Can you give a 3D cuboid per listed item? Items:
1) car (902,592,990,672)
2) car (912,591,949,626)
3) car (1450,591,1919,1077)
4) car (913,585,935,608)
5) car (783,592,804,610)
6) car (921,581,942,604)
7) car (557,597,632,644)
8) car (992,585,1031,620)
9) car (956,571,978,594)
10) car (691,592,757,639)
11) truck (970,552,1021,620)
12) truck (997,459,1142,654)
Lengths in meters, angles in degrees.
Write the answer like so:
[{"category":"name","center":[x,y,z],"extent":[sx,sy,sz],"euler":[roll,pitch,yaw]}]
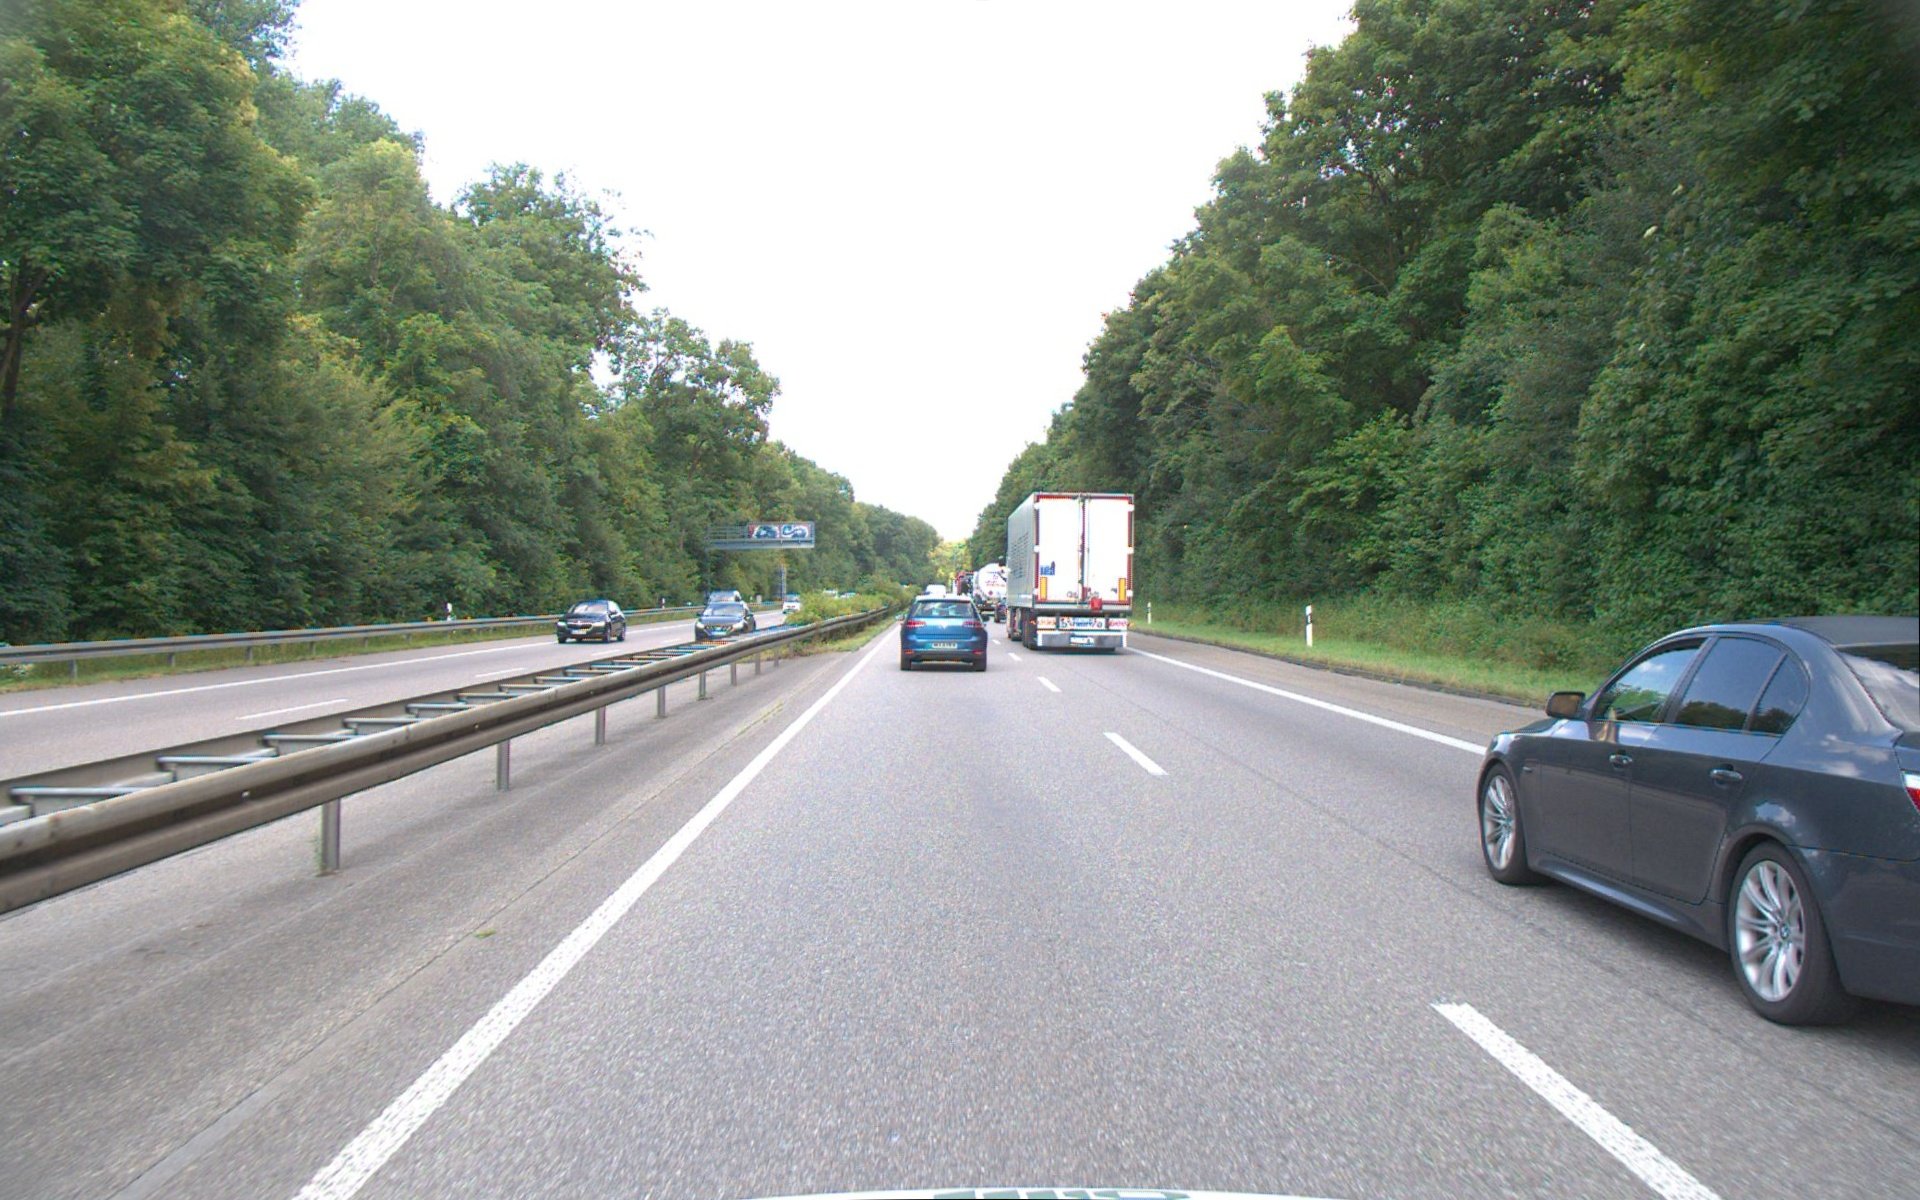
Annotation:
[{"category":"car","center":[-0.309,0.609,33.543],"extent":[1.670,1.495,3.999],"euler":[1,0,-1]},{"category":"car","center":[-1.296,0.351,73.577],"extent":[1.631,1.526,4.151],"euler":[0,0,-1]},{"category":"car","center":[3.804,0.723,7.289],"extent":[1.738,1.501,4.879],"euler":[1,0,-1]},{"category":"car","center":[-3.204,-0.316,147.604],"extent":[1.953,2.049,3.999],"euler":[-1,0,-1]},{"category":"car","center":[-14.057,0.070,139.591],"extent":[1.506,1.421,3.510],"euler":[-1,0,-1]},{"category":"car","center":[-2.988,-0.748,170.389],"extent":[1.954,2.294,4.439],"euler":[-1,0,-3]},{"category":"car","center":[-12.900,0.677,58.602],"extent":[1.646,1.546,4.858],"euler":[-1,0,-1]},{"category":"car","center":[2.649,0.091,86.261],"extent":[1.850,1.759,4.000],"euler":[-1,0,-1]},{"category":"car","center":[0.684,-1.829,171.591],"extent":[1.954,2.368,4.439],"euler":[-1,1,-3]},{"category":"car","center":[-8.204,0.511,57.747],"extent":[1.745,1.546,4.265],"euler":[-1,0,-1]},{"category":"truck","center":[2.367,-0.921,115.156],"extent":[3.166,4.463,12.968],"euler":[0,0,-1]},{"category":"truck","center":[2.861,-1.151,46.730],"extent":[3.176,4.798,11.005],"euler":[-1,1,-1]}]
